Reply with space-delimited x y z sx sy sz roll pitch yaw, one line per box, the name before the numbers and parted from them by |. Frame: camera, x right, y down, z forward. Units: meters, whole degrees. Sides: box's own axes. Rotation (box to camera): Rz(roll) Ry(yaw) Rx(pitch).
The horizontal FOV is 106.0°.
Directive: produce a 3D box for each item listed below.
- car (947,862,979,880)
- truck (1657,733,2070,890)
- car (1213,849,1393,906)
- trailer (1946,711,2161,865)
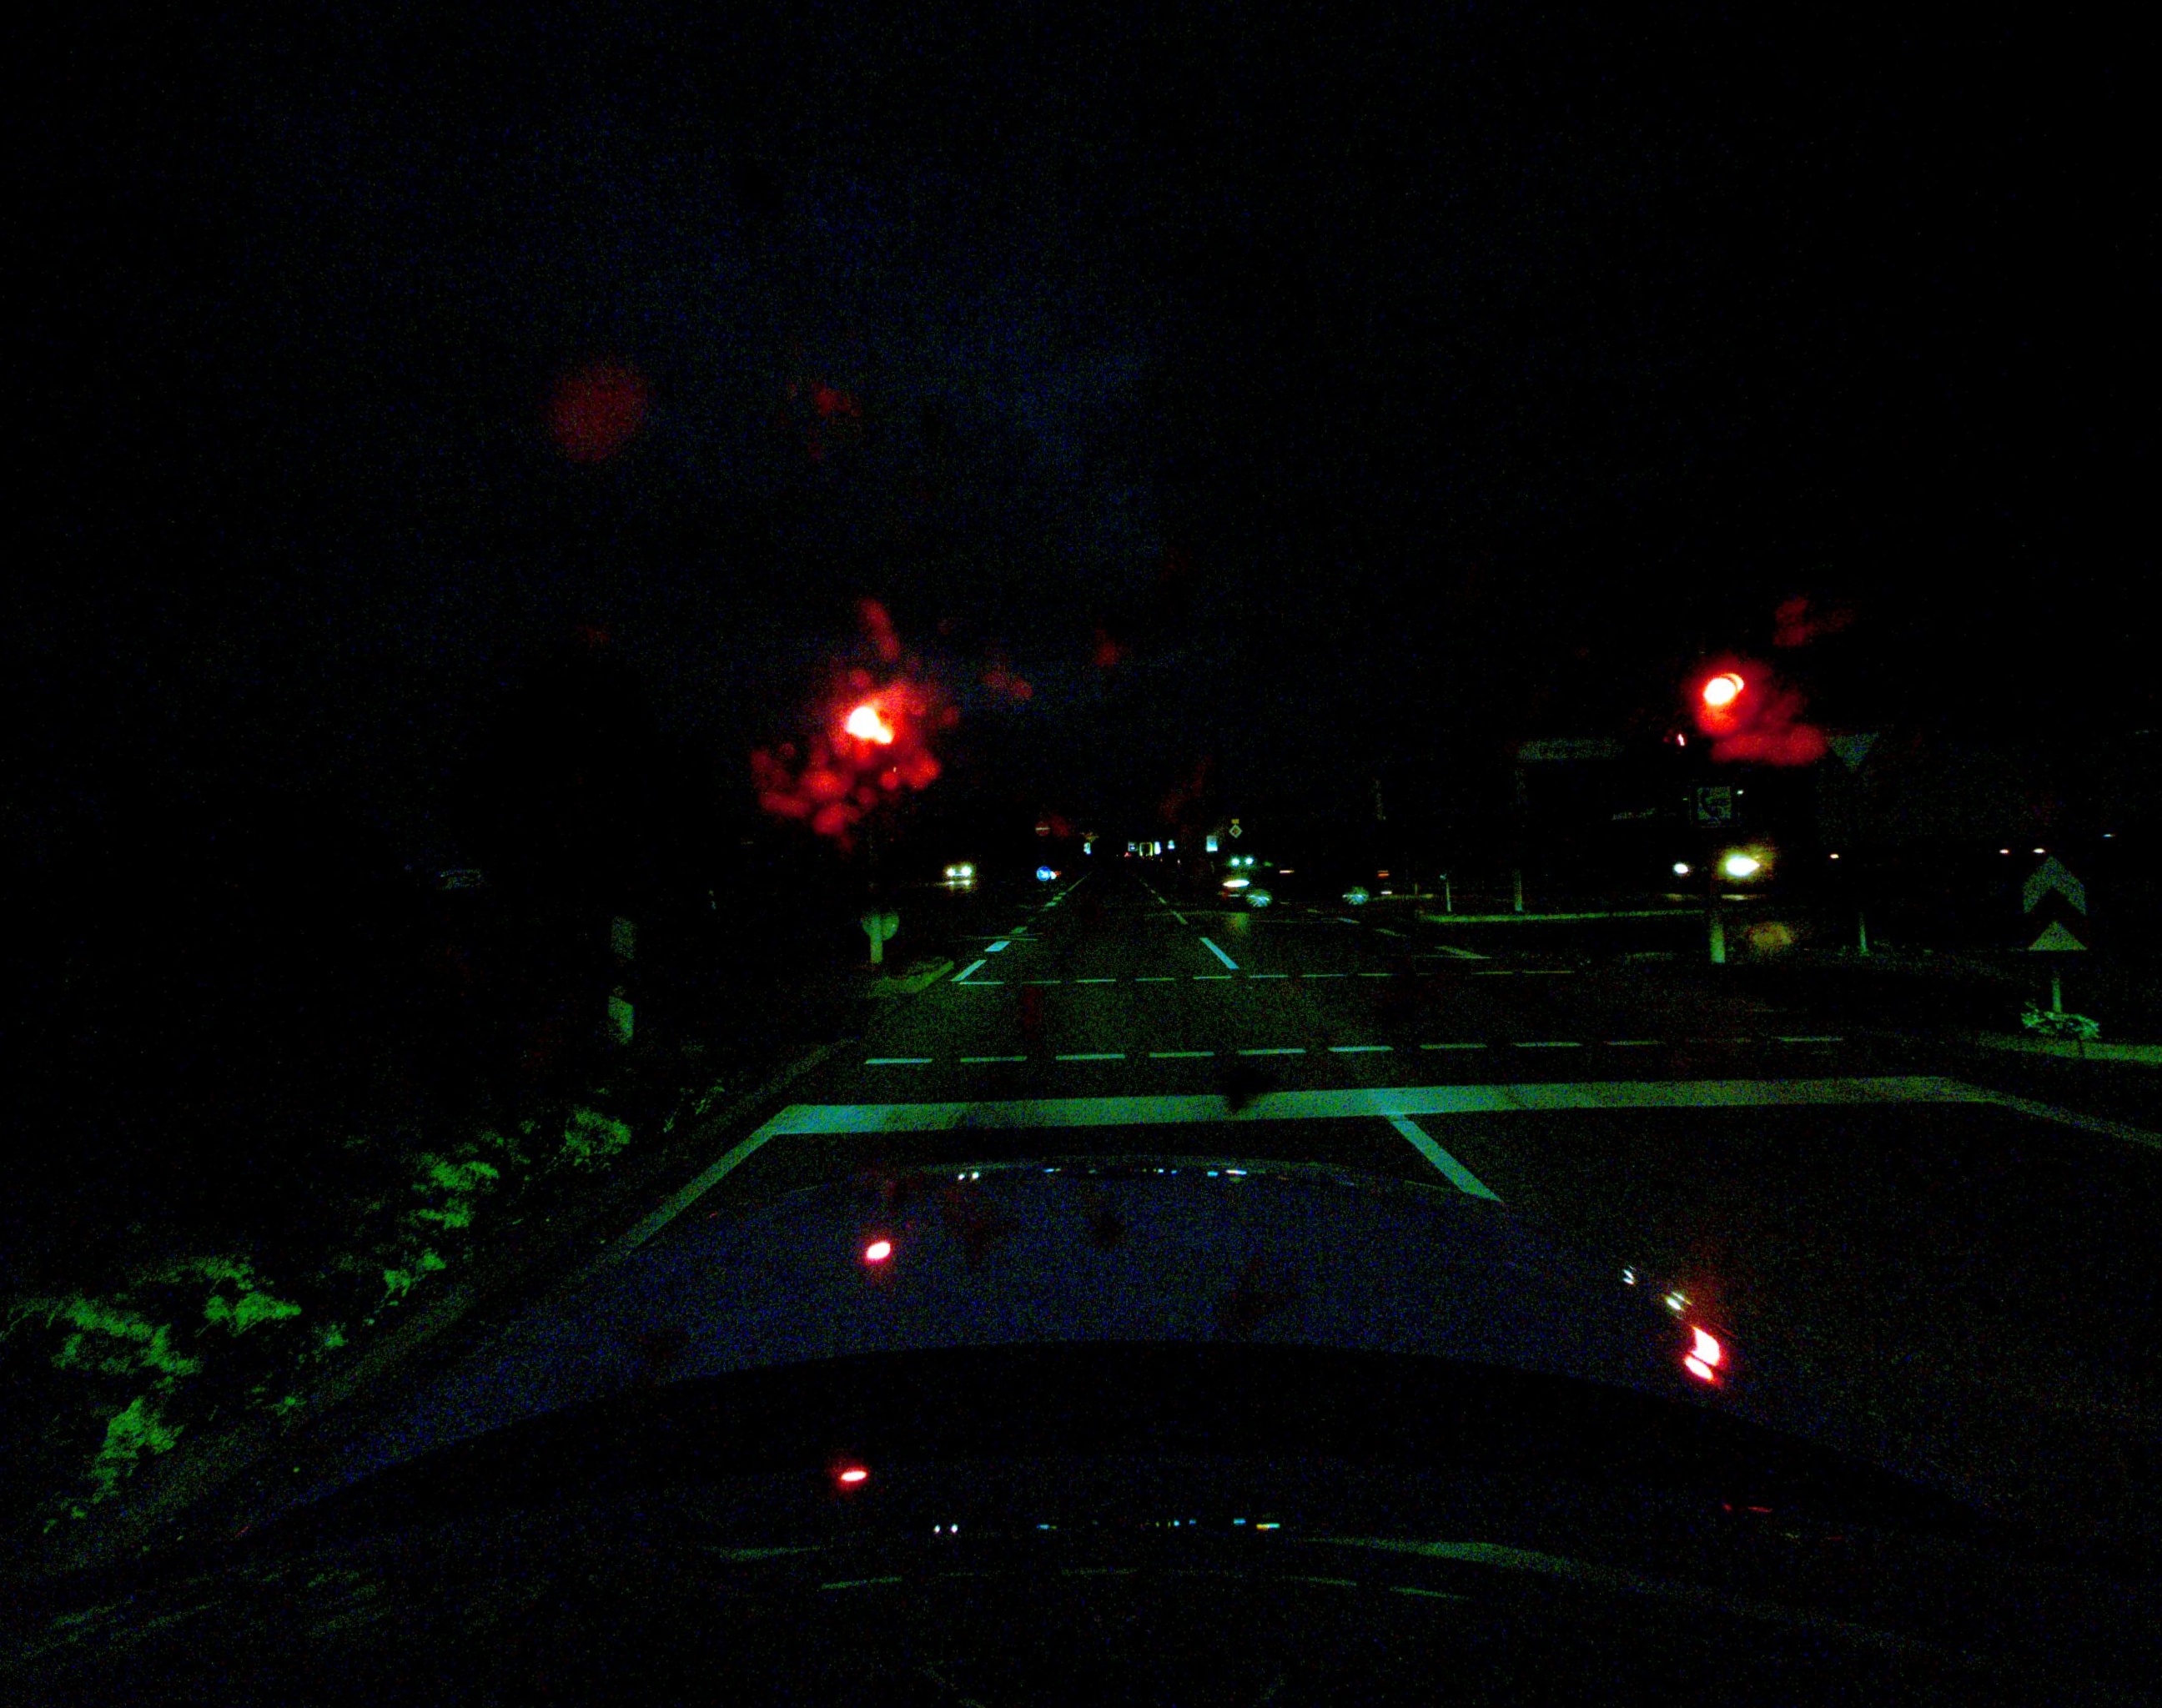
car | -10.123 1.402 69.994 1.986 1.387 4.002 -2 0 2
truck | 22.746 -1.223 23.908 10.027 3.979 2.919 -2 0 -6
car | 6.196 0.638 23.136 4.586 1.520 2.000 -1 0 0
trailer | 32.166 -2.004 25.066 9.041 4.302 2.916 -2 0 -9
